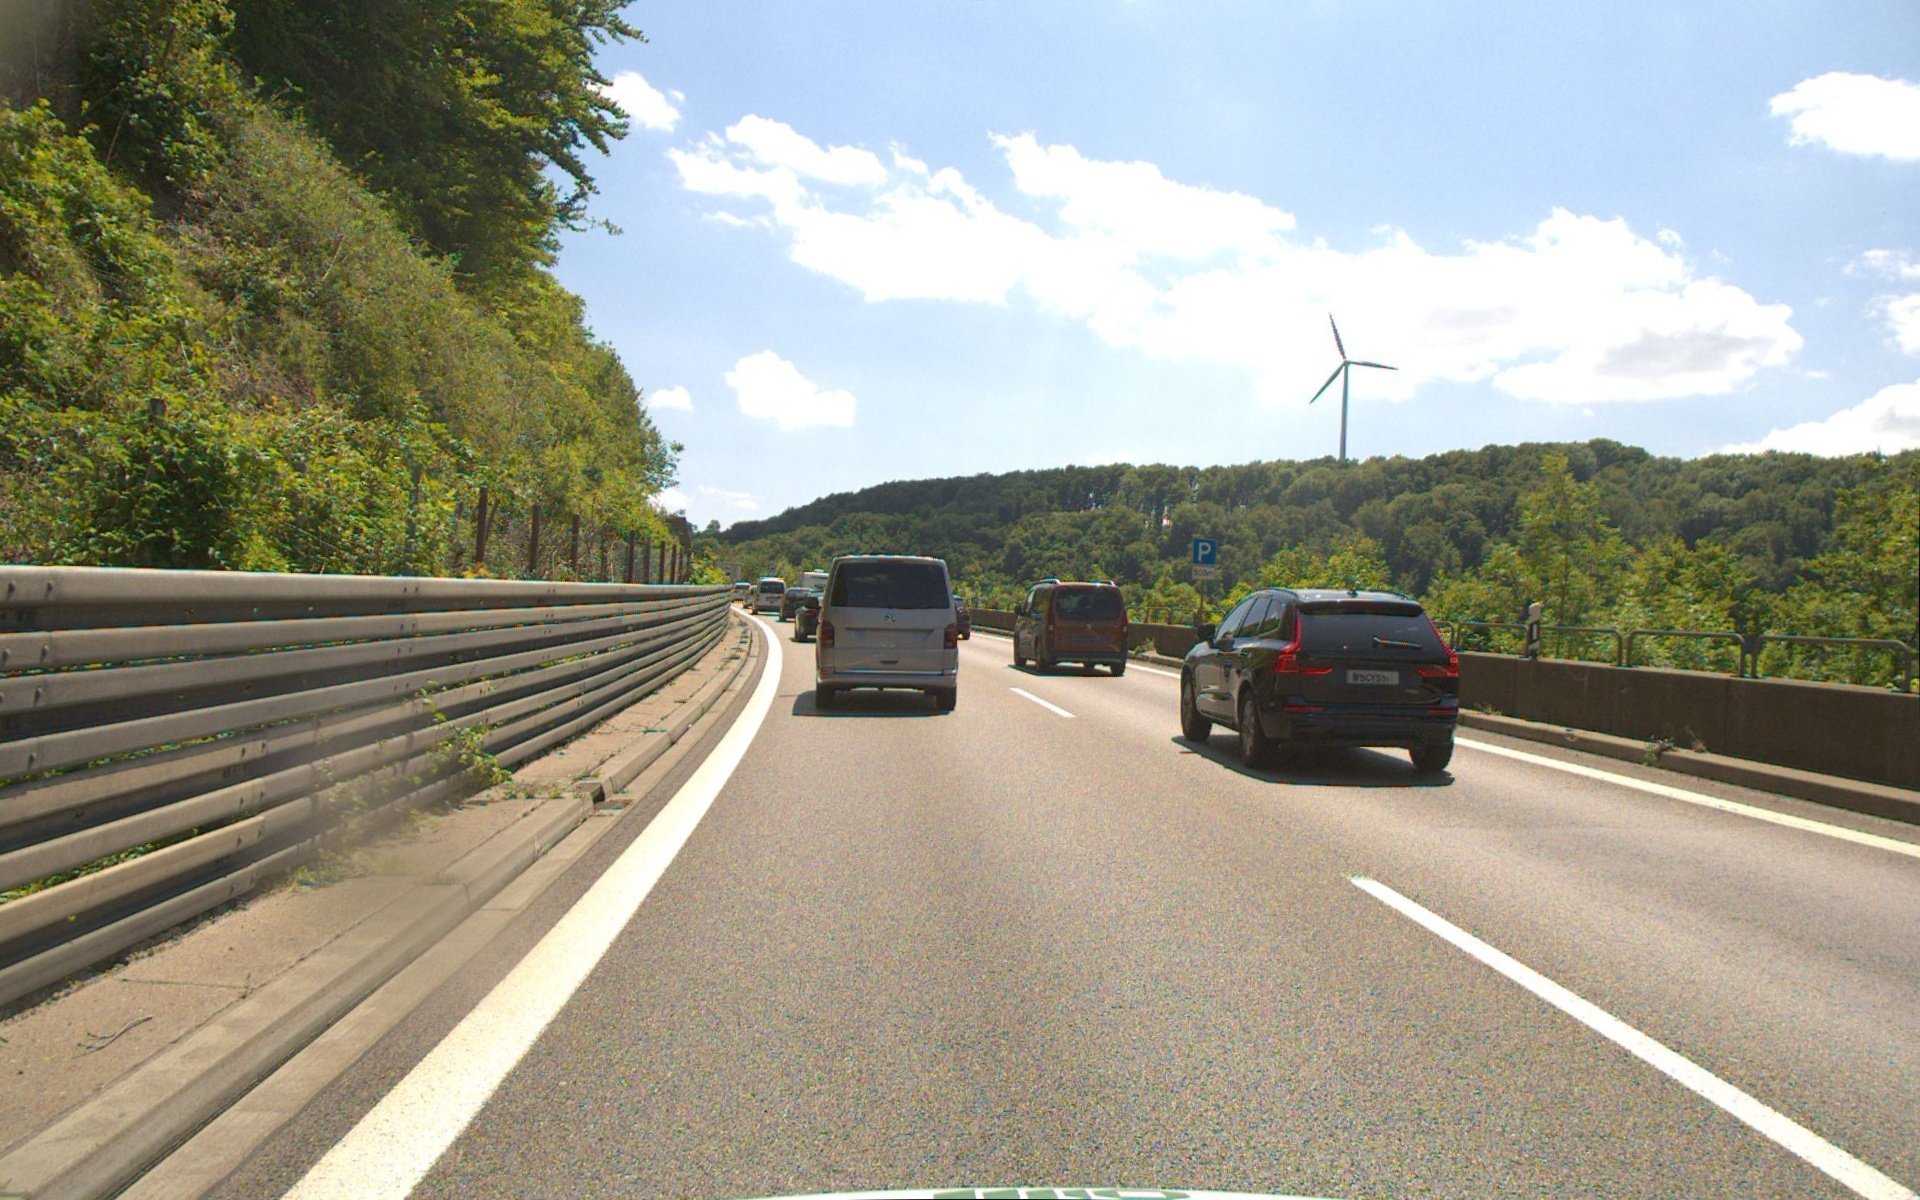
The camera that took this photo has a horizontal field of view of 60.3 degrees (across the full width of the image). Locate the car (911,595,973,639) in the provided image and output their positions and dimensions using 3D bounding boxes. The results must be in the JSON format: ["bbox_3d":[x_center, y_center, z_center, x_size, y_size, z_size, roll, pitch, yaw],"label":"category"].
[{"bbox_3d":[-0.638,0.567,55.640,1.734,1.400,3.588,1,0,-6],"label":"car"}]

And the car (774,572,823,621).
[{"bbox_3d":[-6.988,-0.137,71.249,1.956,2.049,3.994,1,0,-7],"label":"car"}]

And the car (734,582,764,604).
[{"bbox_3d":[-16.851,-0.538,131.913,2.104,1.635,5.066,2,0,-10],"label":"car"}]

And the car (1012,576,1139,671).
[{"bbox_3d":[2.307,0.468,34.303,1.798,1.815,4.669,1,0,-6],"label":"car"}]

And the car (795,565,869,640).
[{"bbox_3d":[-3.752,0.077,48.031,1.955,2.049,3.994,1,0,-7],"label":"car"}]

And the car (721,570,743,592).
[{"bbox_3d":[-21.704,-1.798,157.550,1.957,2.049,3.991,1,0,-9],"label":"car"}]

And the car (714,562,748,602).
[{"bbox_3d":[-29.025,-2.241,209.873,3.967,4.956,10.093,1,0,-7],"label":"car"}]

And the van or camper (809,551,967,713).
[{"bbox_3d":[-1.085,0.408,22.726,1.840,1.983,4.287,1,0,-7],"label":"van or camper"}]

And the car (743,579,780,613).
[{"bbox_3d":[-12.079,-0.270,100.552,1.957,1.948,3.991,3,0,-10],"label":"car"}]

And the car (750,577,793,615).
[{"bbox_3d":[-9.770,-0.206,85.528,1.957,1.849,3.991,3,0,-10],"label":"car"}]

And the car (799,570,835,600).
[{"bbox_3d":[-9.923,-1.027,114.453,1.959,2.049,3.987,1,0,-12],"label":"car"}]

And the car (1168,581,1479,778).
[{"bbox_3d":[3.418,0.683,16.526,1.798,1.662,4.659,1,0,-4],"label":"car"}]
